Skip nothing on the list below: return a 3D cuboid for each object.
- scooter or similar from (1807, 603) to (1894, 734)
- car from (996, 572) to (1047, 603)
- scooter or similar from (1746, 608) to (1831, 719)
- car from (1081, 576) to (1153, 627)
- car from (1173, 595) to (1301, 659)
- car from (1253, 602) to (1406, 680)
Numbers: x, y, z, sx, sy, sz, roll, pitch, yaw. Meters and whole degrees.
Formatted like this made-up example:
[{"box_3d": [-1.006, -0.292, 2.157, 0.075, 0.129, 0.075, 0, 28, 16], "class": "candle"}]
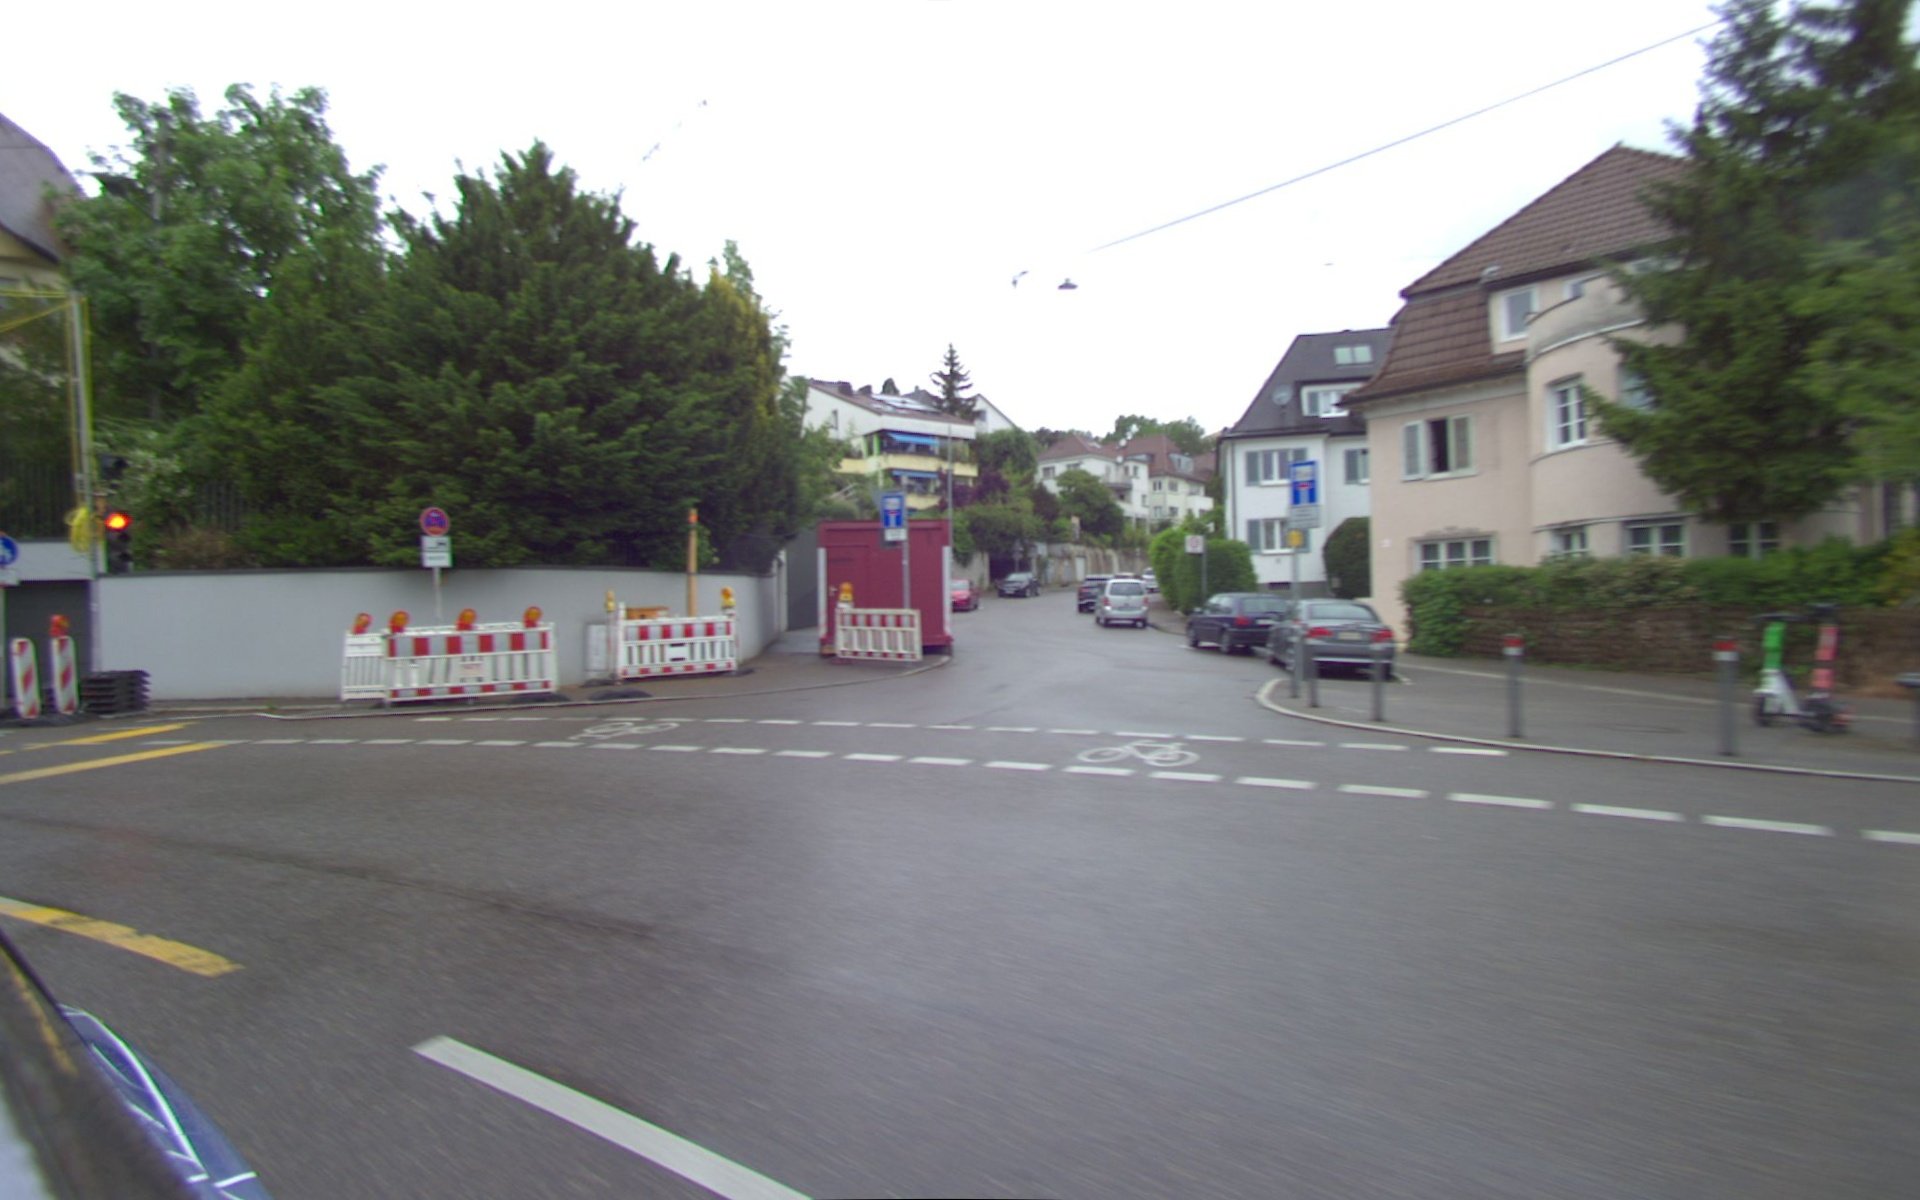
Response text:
[{"box_3d": [8.386, 0.624, 9.523, 1.019, 1.173, 0.244, -1, 0, -27], "class": "scooter or similar"}, {"box_3d": [3.621, -0.753, 59.147, 1.868, 1.504, 3.975, -5, 1, 19], "class": "car"}, {"box_3d": [8.447, 0.633, 10.308, 1.019, 1.077, 0.244, -1, 0, -25], "class": "scooter or similar"}, {"box_3d": [5.611, 0.007, 36.550, 1.848, 1.674, 4.002, 0, 2, -2], "class": "car"}, {"box_3d": [6.654, 0.599, 24.798, 1.650, 1.413, 4.209, -1, 0, -5], "class": "car"}, {"box_3d": [6.797, 0.699, 19.080, 1.654, 1.276, 4.198, -1, 0, 5], "class": "car"}]
